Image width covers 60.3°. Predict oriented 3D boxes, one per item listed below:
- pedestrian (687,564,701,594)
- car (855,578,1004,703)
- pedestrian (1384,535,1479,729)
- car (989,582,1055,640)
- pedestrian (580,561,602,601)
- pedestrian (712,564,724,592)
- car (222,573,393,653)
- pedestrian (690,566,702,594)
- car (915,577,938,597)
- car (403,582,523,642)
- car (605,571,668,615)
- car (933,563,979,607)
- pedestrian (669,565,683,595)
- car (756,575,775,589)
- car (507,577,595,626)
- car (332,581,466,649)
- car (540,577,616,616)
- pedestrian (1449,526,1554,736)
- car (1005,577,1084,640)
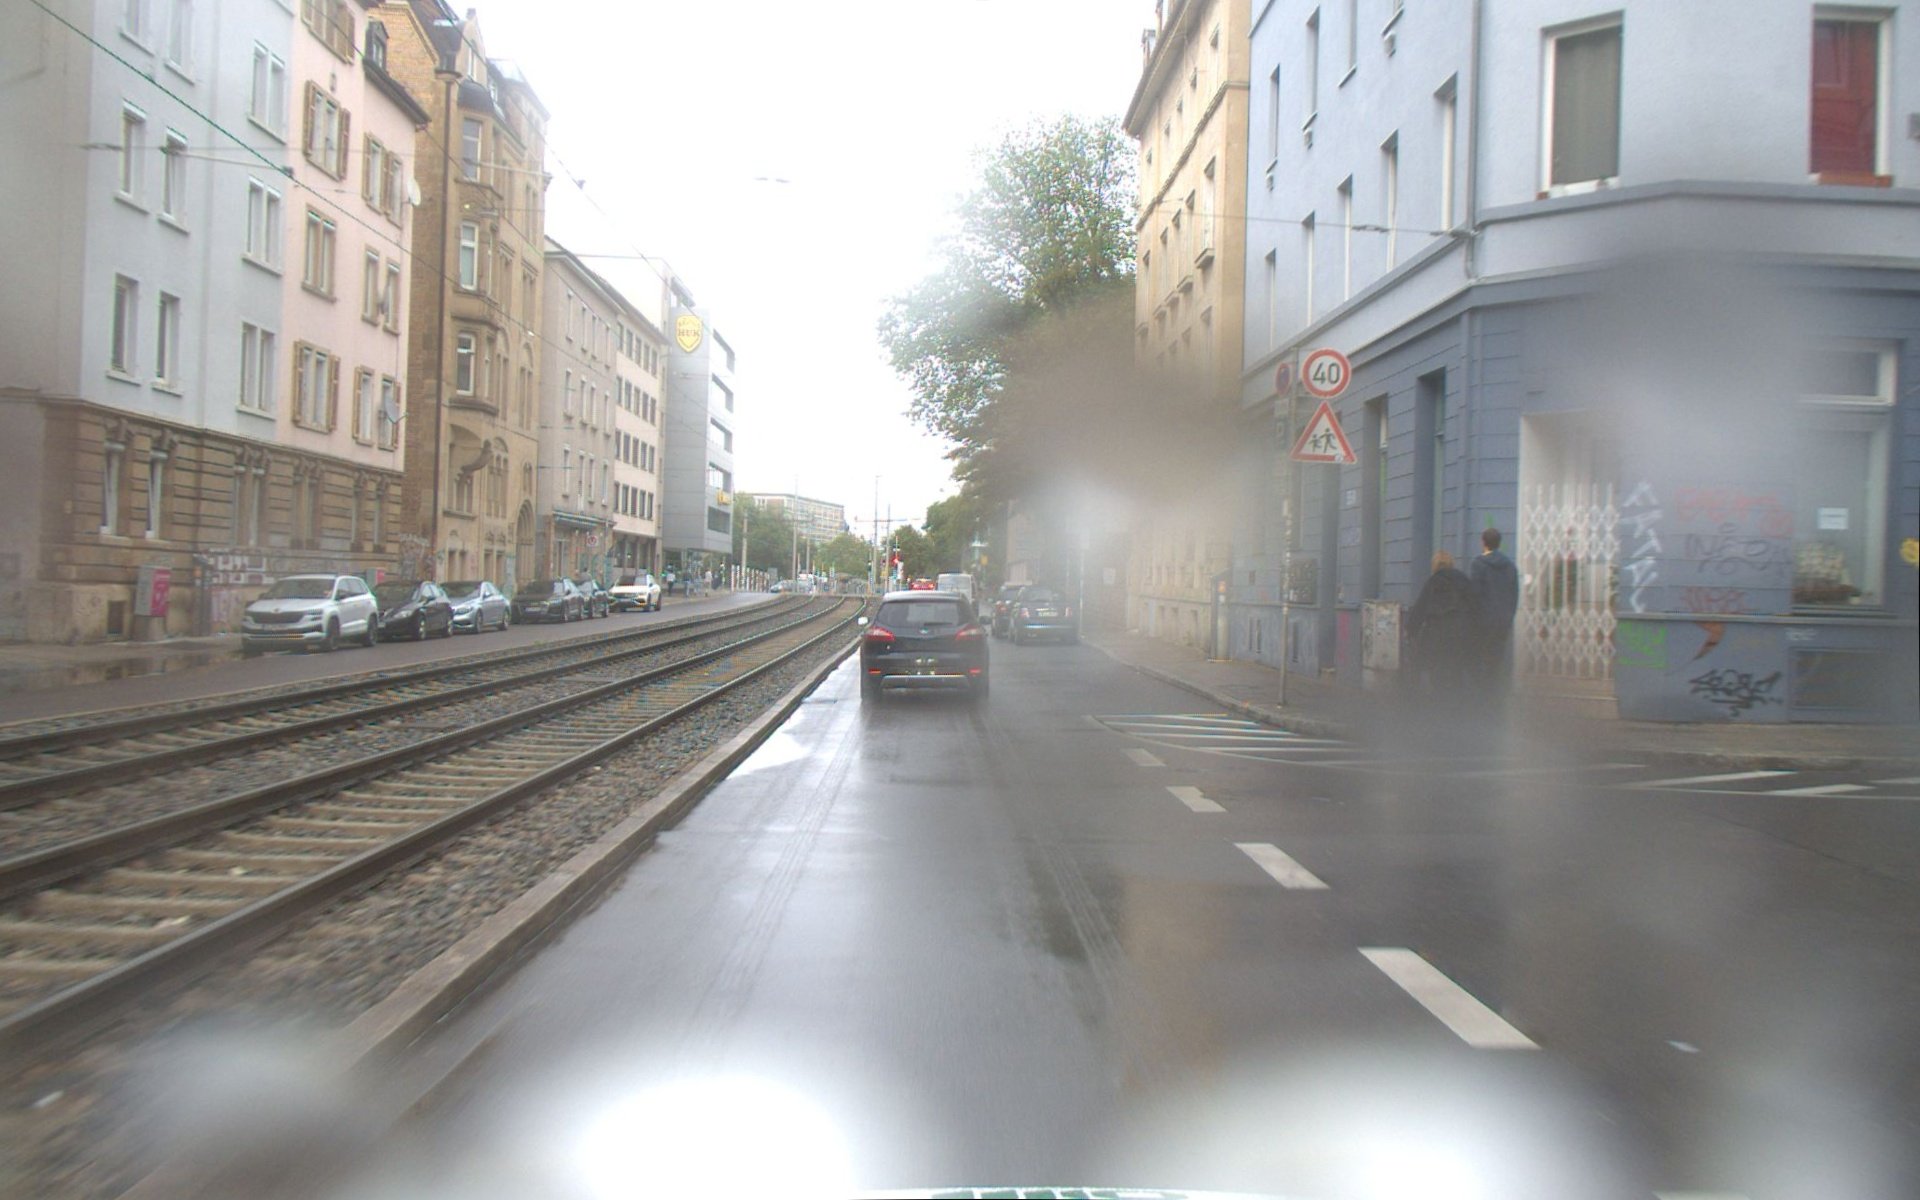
[{"bbox_3d":[-17.259,-1.357,107.313,0.729,1.886,0.839,1,-1,-2],"label":"pedestrian"},{"bbox_3d":[-0.427,0.555,24.003,1.953,1.622,4.270,1,-1,-1],"label":"car"},{"bbox_3d":[4.730,0.310,16.643,0.648,1.884,0.821,1,1,-2],"label":"pedestrian"},{"bbox_3d":[1.765,0.286,48.207,1.609,1.542,4.037,1,1,-2],"label":"car"},{"bbox_3d":[-16.855,-0.860,75.526,0.785,1.781,0.984,2,0,-2],"label":"pedestrian"},{"bbox_3d":[-16.720,-1.496,114.168,0.729,1.886,0.839,1,-1,-2],"label":"pedestrian"},{"bbox_3d":[-13.870,0.246,35.450,1.953,1.545,4.434,2,0,-1],"label":"car"},{"bbox_3d":[-18.094,-1.398,113.422,0.729,1.886,0.839,1,-1,-2],"label":"pedestrian"},{"bbox_3d":[-2.882,-1.122,142.524,1.953,1.622,4.270,1,-1,-1],"label":"car"},{"bbox_3d":[-14.022,0.313,46.987,1.953,1.545,4.991,2,0,-1],"label":"car"},{"bbox_3d":[-14.561,-0.332,74.701,1.953,1.871,5.069,2,0,-2],"label":"car"},{"bbox_3d":[-0.202,-0.621,72.856,1.953,1.848,4.270,1,-1,-1],"label":"car"},{"bbox_3d":[-18.379,-1.307,106.984,0.729,1.886,0.839,1,-1,-2],"label":"pedestrian"},{"bbox_3d":[-21.221,-1.986,180.368,1.957,1.467,3.992,1,1,-9],"label":"car"},{"bbox_3d":[-14.085,0.040,57.205,1.953,1.545,4.675,2,0,-1],"label":"car"},{"bbox_3d":[-13.930,0.342,41.310,1.953,1.545,4.208,2,0,-1],"label":"car"},{"bbox_3d":[-14.546,-0.147,63.182,1.953,1.400,4.237,2,0,-1],"label":"car"},{"bbox_3d":[5.459,0.299,16.707,0.721,2.049,0.821,1,1,-2],"label":"pedestrian"},{"bbox_3d":[2.187,0.187,43.595,1.704,1.515,3.999,1,1,-2],"label":"car"}]
